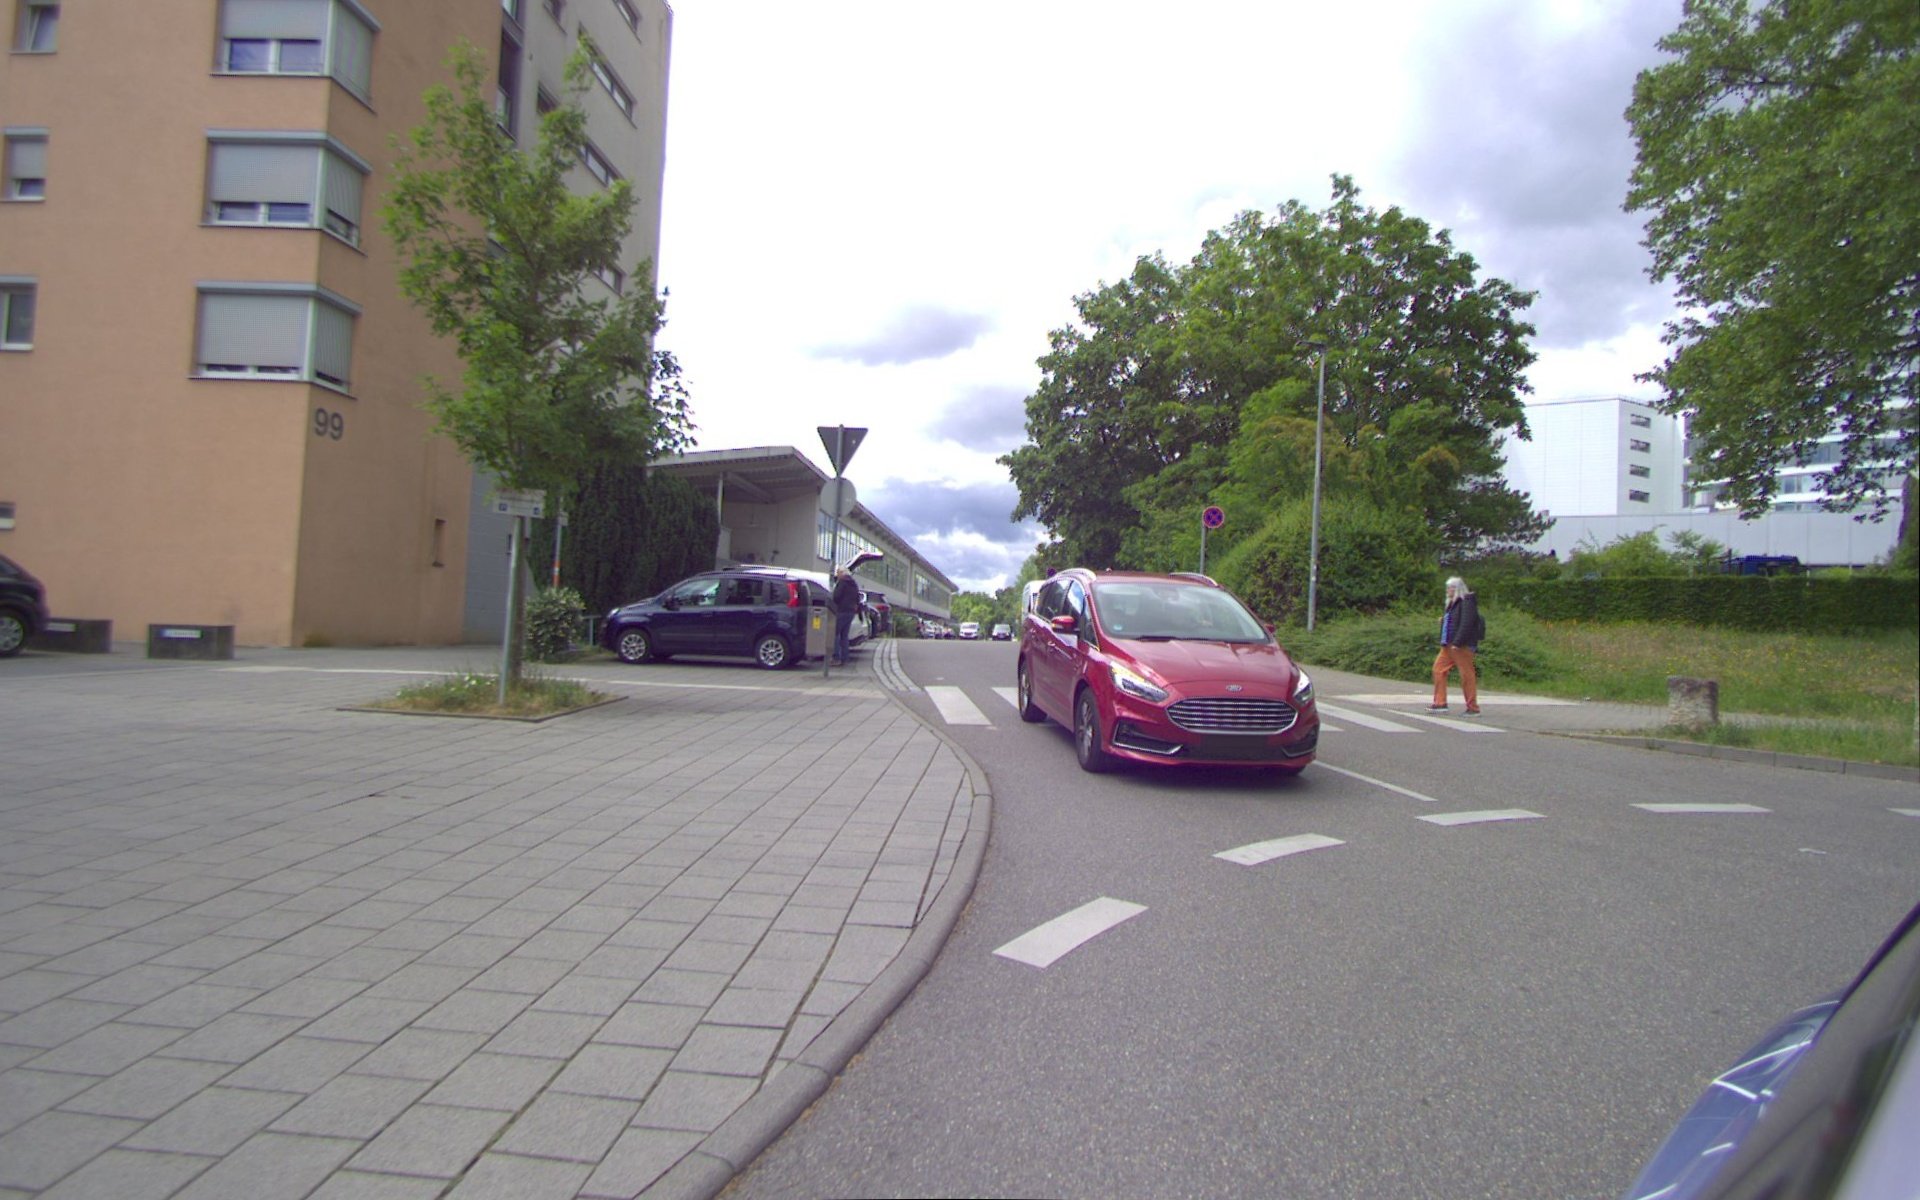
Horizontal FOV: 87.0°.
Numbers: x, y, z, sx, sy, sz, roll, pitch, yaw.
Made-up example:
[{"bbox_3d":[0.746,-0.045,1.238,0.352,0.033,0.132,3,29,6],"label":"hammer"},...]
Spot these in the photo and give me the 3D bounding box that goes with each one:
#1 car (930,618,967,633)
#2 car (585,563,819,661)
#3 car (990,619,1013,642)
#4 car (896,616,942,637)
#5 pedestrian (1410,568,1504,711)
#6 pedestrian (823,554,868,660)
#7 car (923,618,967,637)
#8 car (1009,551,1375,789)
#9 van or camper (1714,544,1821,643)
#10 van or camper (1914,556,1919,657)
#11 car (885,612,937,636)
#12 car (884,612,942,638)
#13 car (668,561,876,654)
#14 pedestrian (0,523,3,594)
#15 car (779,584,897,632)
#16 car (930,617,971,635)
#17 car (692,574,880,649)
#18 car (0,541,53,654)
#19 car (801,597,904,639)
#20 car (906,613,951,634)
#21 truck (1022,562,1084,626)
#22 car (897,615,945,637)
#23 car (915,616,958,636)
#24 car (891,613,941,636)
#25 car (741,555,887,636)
[{"bbox_3d":[-1.207,2.635,104.092,3.708,1.462,1.641,1,1,3],"label":"car"},{"bbox_3d":[-4.212,0.200,16.827,3.462,1.495,1.503,1,-2,3],"label":"car"},{"bbox_3d":[3.940,2.842,94.893,1.965,2.040,3.993,1,-1,5],"label":"car"},{"bbox_3d":[-3.007,1.899,73.941,3.238,1.407,1.509,1,1,3],"label":"car"},{"bbox_3d":[6.045,0.460,12.352,0.826,1.685,0.614,1,2,7],"label":"pedestrian"},{"bbox_3d":[-2.022,0.127,17.878,0.573,1.836,0.483,3,-3,-43],"label":"pedestrian"},{"bbox_3d":[-1.290,2.401,88.717,3.708,1.500,1.641,1,1,3],"label":"car"},{"bbox_3d":[1.807,0.456,9.581,1.940,1.665,4.542,2,1,-6],"label":"car"},{"bbox_3d":[25.121,-0.126,31.666,2.099,2.834,4.427,0,-2,32],"label":"van or camper"},{"bbox_3d":[26.991,0.135,26.481,2.099,2.834,4.427,0,-2,32],"label":"van or camper"},{"bbox_3d":[-3.208,1.560,66.217,3.238,1.407,1.509,1,1,3],"label":"car"},{"bbox_3d":[-2.706,1.435,58.931,3.238,1.407,1.509,1,1,3],"label":"car"},{"bbox_3d":[-3.594,0.126,19.714,3.708,1.679,1.572,1,1,3],"label":"car"},{"bbox_3d":[-15.976,-0.340,16.358,0.497,1.877,0.480,1,-2,-7],"label":"pedestrian"},{"bbox_3d":[-4.057,0.253,33.971,3.708,1.500,1.641,1,1,3],"label":"car"},{"bbox_3d":[-0.891,2.410,94.217,3.708,1.462,1.641,1,1,3],"label":"car"},{"bbox_3d":[-3.665,0.215,21.735,3.708,1.500,1.641,1,1,3],"label":"car"},{"bbox_3d":[-14.004,-0.083,12.490,1.725,1.537,4.046,1,-1,6],"label":"car"},{"bbox_3d":[-4.089,0.676,38.797,3.708,1.500,1.641,1,1,3],"label":"car"},{"bbox_3d":[-2.364,1.769,76.040,3.238,1.407,1.509,1,1,3],"label":"car"},{"bbox_3d":[4.054,-0.196,45.084,2.028,2.640,5.808,1,-1,-2],"label":"truck"},{"bbox_3d":[-2.721,1.841,71.221,3.238,1.407,1.509,1,1,3],"label":"car"},{"bbox_3d":[-1.810,2.037,78.907,3.238,1.407,1.509,1,1,3],"label":"car"},{"bbox_3d":[-2.975,1.654,68.895,3.238,1.407,1.509,1,1,3],"label":"car"},{"bbox_3d":[-4.159,-0.107,29.257,3.904,2.188,1.828,1,-2,3],"label":"car"}]
